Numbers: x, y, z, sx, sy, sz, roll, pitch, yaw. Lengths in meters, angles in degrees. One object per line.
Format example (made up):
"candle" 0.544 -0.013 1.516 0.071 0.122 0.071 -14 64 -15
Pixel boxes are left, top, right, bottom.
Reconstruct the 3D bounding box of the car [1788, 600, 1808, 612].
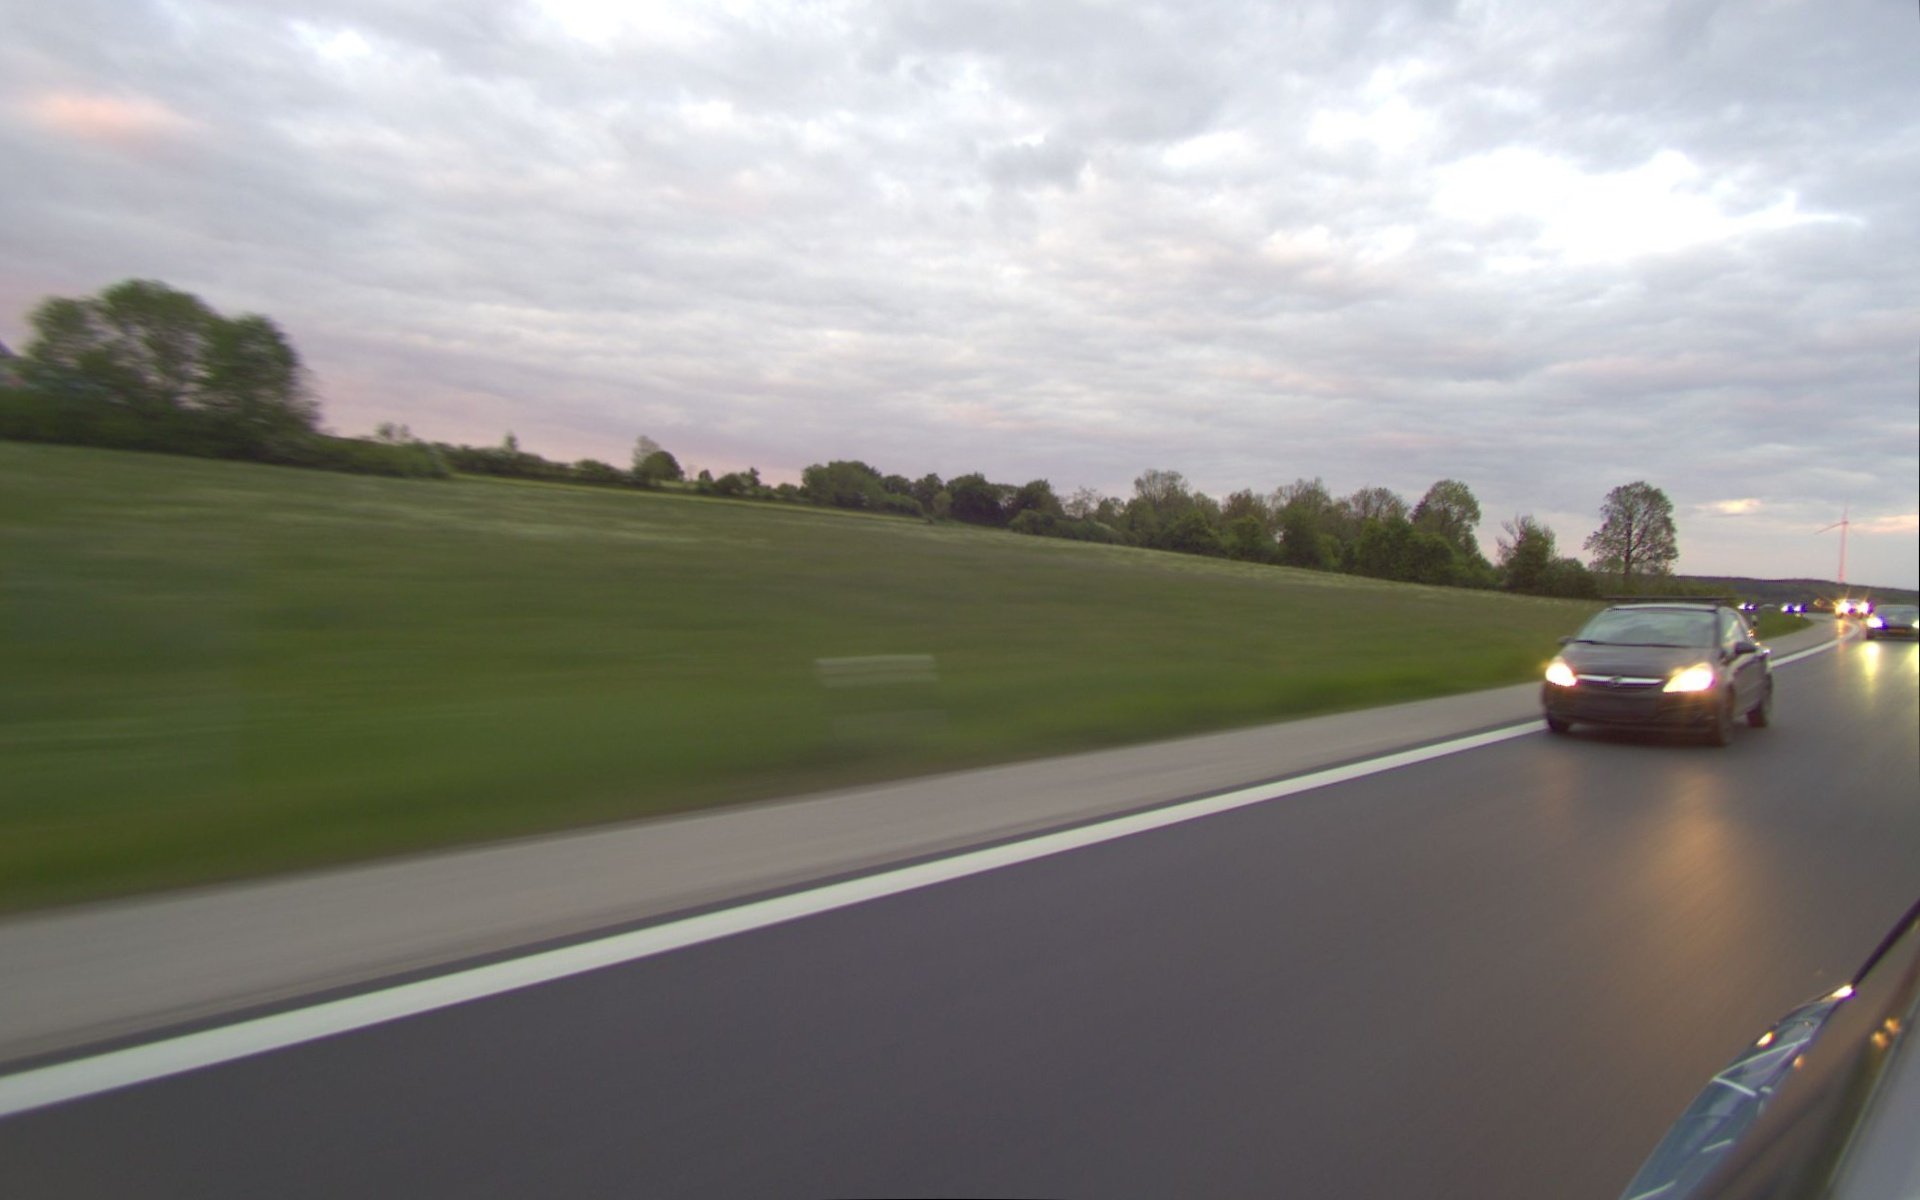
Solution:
"car" 127.810 0.913 154.383 1.789 1.665 4.049 1 1 31

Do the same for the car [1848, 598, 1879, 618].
"car" 89.339 0.794 100.127 1.911 1.860 3.946 3 2 38

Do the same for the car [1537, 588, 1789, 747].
"car" 8.264 0.636 11.761 3.934 1.532 1.678 0 1 -44

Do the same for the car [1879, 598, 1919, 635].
"car" 38.925 0.669 41.226 3.933 1.413 1.882 0 2 -44
